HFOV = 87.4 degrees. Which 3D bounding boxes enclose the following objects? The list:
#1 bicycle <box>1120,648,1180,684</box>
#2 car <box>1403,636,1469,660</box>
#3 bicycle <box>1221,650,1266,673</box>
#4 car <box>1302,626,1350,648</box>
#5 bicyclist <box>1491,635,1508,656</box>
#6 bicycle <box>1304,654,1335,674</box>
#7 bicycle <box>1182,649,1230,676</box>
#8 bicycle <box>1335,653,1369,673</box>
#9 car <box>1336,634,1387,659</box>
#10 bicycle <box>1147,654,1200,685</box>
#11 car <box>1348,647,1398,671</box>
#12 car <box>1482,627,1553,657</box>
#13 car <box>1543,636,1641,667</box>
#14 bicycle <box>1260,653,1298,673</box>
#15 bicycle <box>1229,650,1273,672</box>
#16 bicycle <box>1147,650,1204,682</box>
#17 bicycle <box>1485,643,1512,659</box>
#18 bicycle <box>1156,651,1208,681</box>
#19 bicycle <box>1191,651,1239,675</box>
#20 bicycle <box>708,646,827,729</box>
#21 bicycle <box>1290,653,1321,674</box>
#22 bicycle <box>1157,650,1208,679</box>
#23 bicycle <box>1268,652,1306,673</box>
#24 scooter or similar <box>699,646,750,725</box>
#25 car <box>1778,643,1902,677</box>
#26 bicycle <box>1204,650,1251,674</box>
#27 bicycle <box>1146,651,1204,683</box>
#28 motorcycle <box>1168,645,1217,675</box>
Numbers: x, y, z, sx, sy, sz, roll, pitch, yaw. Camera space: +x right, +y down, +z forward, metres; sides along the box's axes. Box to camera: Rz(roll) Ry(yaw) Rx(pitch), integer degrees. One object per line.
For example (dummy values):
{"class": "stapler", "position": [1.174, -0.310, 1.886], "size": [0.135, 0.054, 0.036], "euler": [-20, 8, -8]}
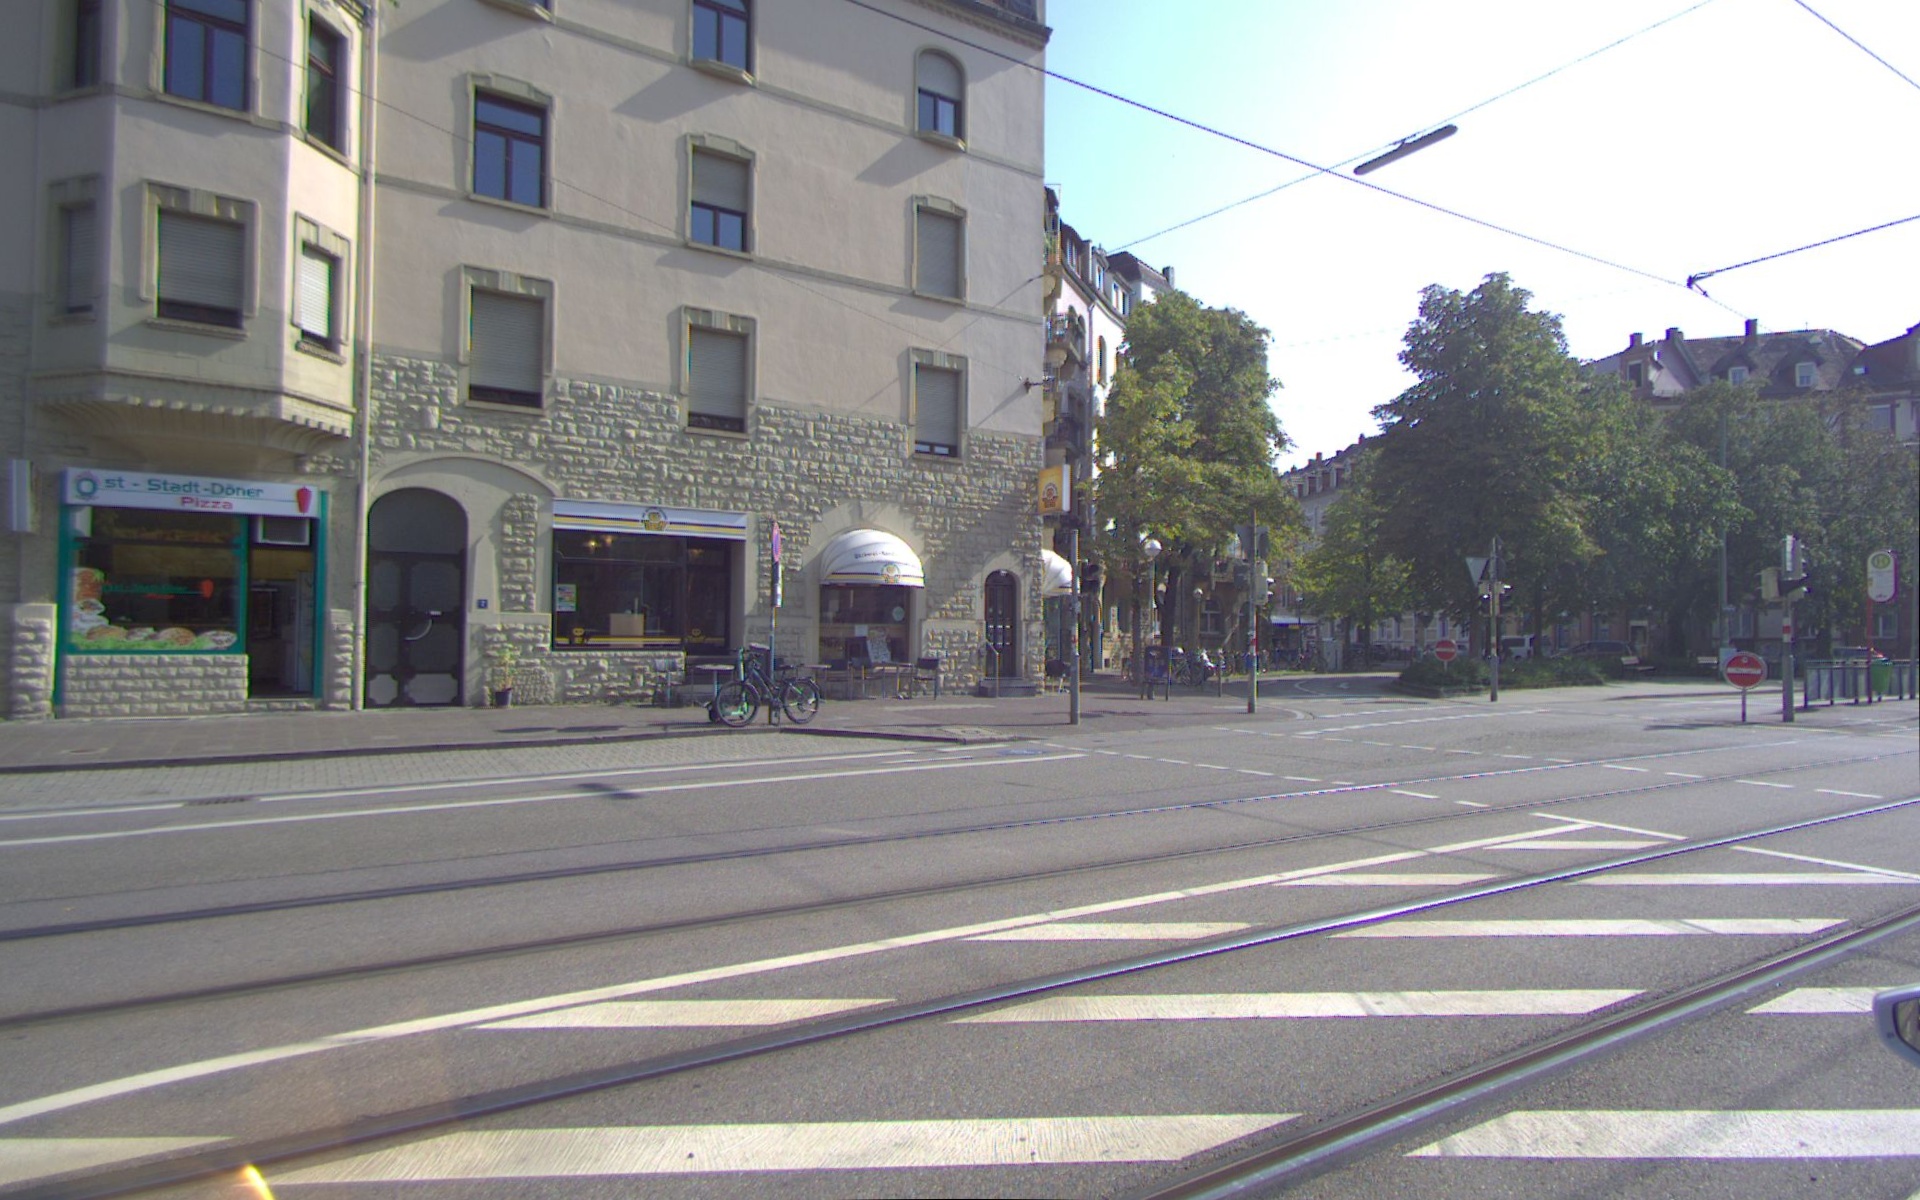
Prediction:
{"class": "bicycle", "position": [6.146, 2.122, 32.500], "size": [1.844, 1.127, 0.569], "euler": [2, -2, -10]}
{"class": "car", "position": [31.962, 3.221, 67.580], "size": [1.963, 1.589, 4.332], "euler": [1, -2, -7]}
{"class": "bicycle", "position": [12.685, 2.749, 44.964], "size": [1.865, 0.993, 0.685], "euler": [0, -2, 26]}
{"class": "car", "position": [32.125, 3.230, 88.301], "size": [1.968, 1.852, 3.986], "euler": [1, -2, -17]}
{"class": "bicyclist", "position": [34.157, 2.869, 63.583], "size": [0.538, 1.345, 0.821], "euler": [0, -2, -7]}
{"class": "bicycle", "position": [17.723, 3.148, 49.537], "size": [1.750, 0.990, 0.422], "euler": [2, -2, -32]}
{"class": "bicycle", "position": [10.176, 2.575, 41.606], "size": [1.843, 1.041, 0.663], "euler": [0, -2, 26]}
{"class": "bicycle", "position": [20.202, 3.247, 51.808], "size": [0.596, 0.990, 1.761], "euler": [1, -2, -23]}
{"class": "car", "position": [30.667, 3.527, 76.836], "size": [1.963, 1.852, 3.996], "euler": [1, -2, -8]}
{"class": "bicycle", "position": [6.772, 2.192, 31.839], "size": [1.577, 0.932, 0.479], "euler": [1, -2, 0]}
{"class": "car", "position": [33.428, 4.773, 81.475], "size": [1.964, 1.852, 3.995], "euler": [1, -2, -9]}
{"class": "car", "position": [35.832, 2.721, 64.701], "size": [1.964, 1.852, 3.995], "euler": [1, -2, -9]}
{"class": "car", "position": [34.558, 2.803, 54.988], "size": [4.277, 1.589, 1.988], "euler": [-2, -3, 44]}
{"class": "bicycle", "position": [15.899, 3.131, 50.145], "size": [1.742, 0.990, 0.518], "euler": [-2, -3, 38]}
{"class": "bicycle", "position": [13.428, 2.821, 46.339], "size": [1.851, 0.947, 0.635], "euler": [-1, -3, 42]}
{"class": "bicycle", "position": [7.453, 2.259, 34.738], "size": [1.841, 1.047, 0.570], "euler": [0, -2, 21]}
{"class": "bicycle", "position": [34.145, 3.223, 63.660], "size": [0.538, 0.970, 1.855], "euler": [0, -2, -6]}
{"class": "bicycle", "position": [7.979, 2.366, 36.076], "size": [1.769, 0.997, 0.570], "euler": [0, -2, 19]}
{"class": "bicycle", "position": [10.826, 2.674, 42.704], "size": [1.876, 0.947, 0.737], "euler": [0, -2, 26]}
{"class": "bicycle", "position": [-2.994, 1.340, 15.757], "size": [1.842, 1.242, 0.449], "euler": [2, -3, -41]}
{"class": "bicycle", "position": [17.045, 3.136, 49.556], "size": [1.750, 0.990, 0.422], "euler": [2, -2, -32]}
{"class": "bicycle", "position": [8.261, 2.389, 37.257], "size": [1.769, 0.996, 0.660], "euler": [0, -2, 19]}
{"class": "bicycle", "position": [16.489, 3.149, 50.660], "size": [1.742, 0.990, 0.603], "euler": [-2, -3, 37]}
{"class": "scooter or similar", "position": [-3.732, 1.337, 15.979], "size": [0.359, 1.213, 1.035], "euler": [0, -2, 13]}
{"class": "car", "position": [44.402, 3.010, 50.812], "size": [4.250, 1.589, 2.001], "euler": [0, -2, 18]}
{"class": "bicycle", "position": [11.709, 2.706, 43.957], "size": [1.865, 0.993, 0.685], "euler": [0, -2, 26]}
{"class": "bicycle", "position": [7.113, 2.207, 33.280], "size": [1.840, 1.017, 0.570], "euler": [1, -2, 6]}
{"class": "motorcycle", "position": [9.441, 2.440, 40.798], "size": [1.840, 1.169, 0.607], "euler": [0, -2, 26]}
